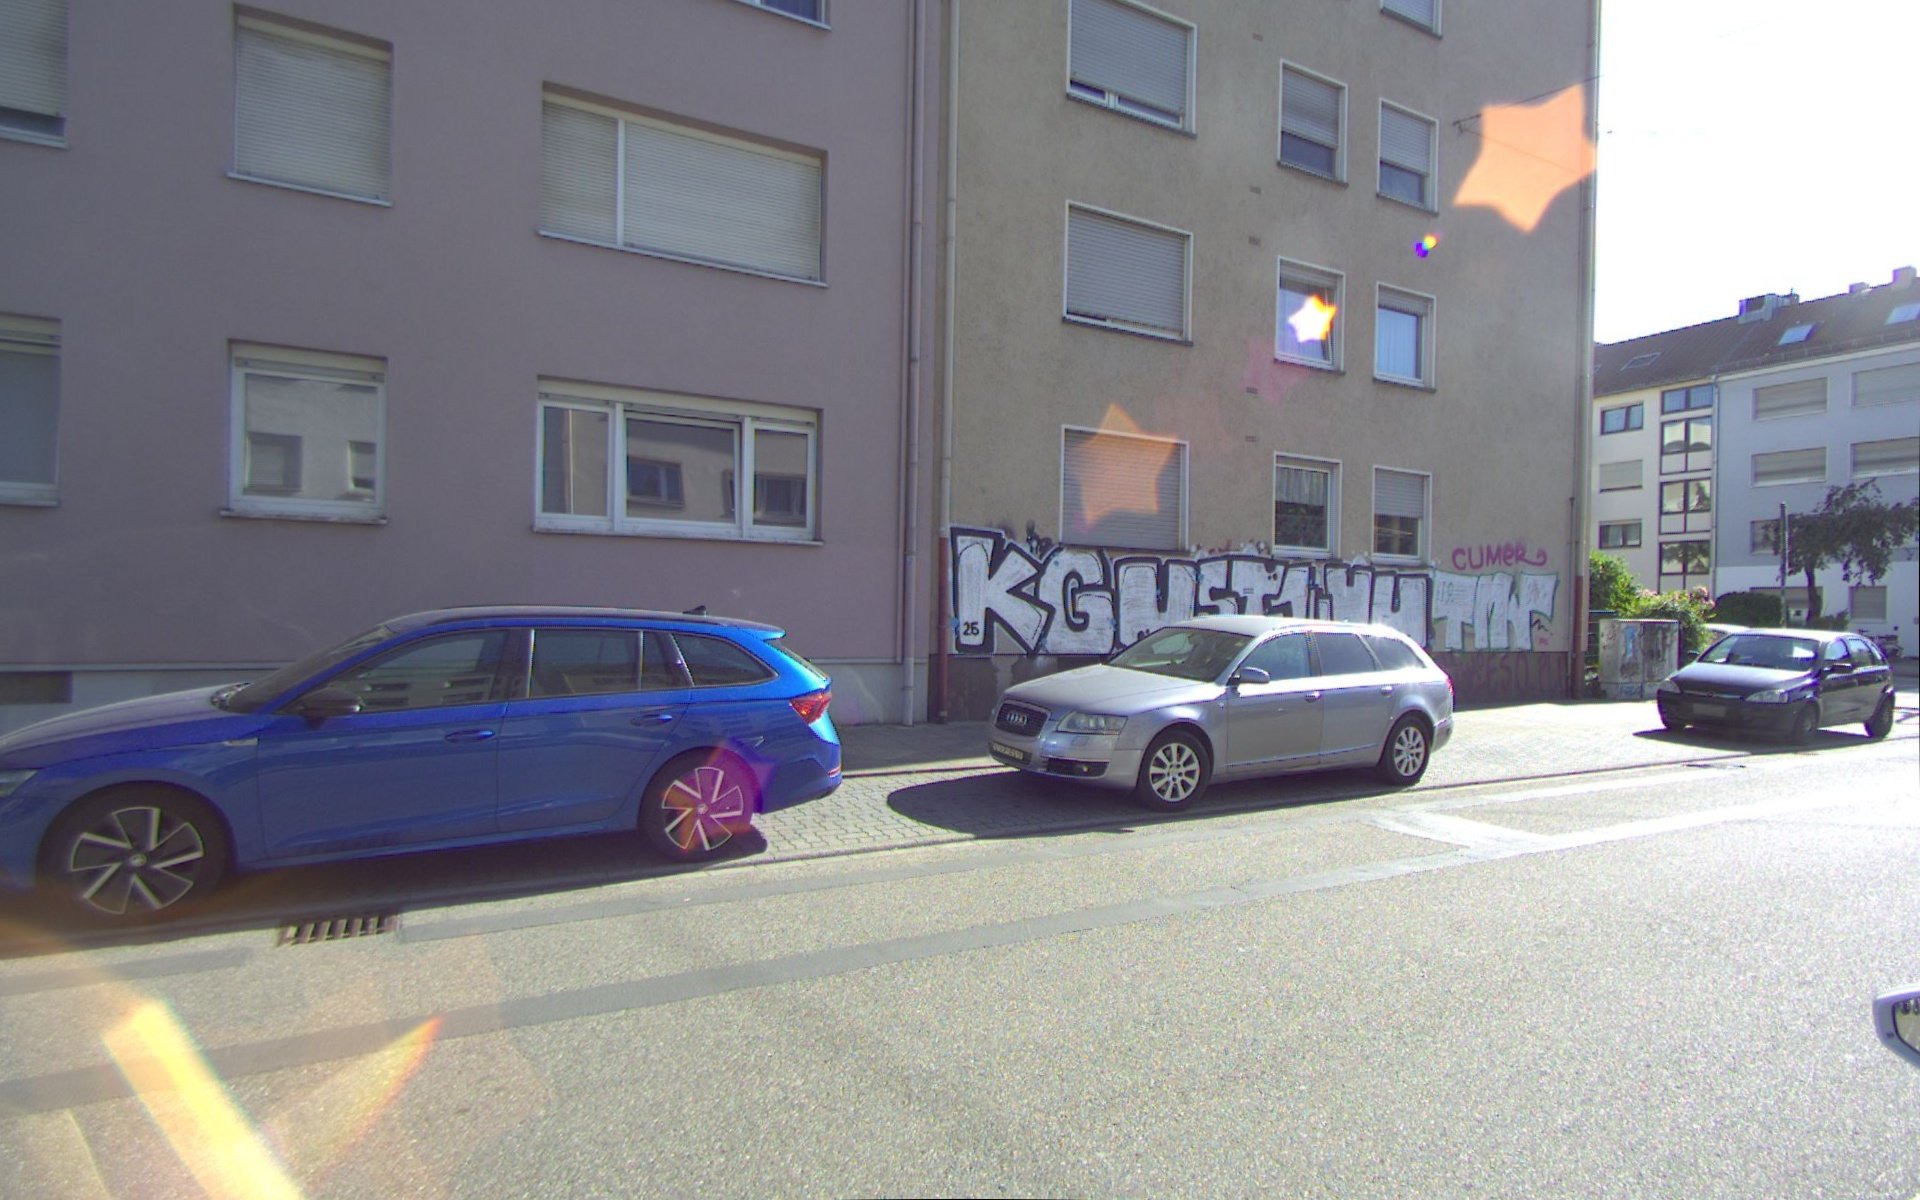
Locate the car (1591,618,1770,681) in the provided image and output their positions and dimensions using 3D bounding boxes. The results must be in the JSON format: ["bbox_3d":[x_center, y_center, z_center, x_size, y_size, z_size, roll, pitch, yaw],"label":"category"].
[{"bbox_3d":[20.284,1.344,28.437,1.748,1.557,3.759,1,0,-27],"label":"car"}]

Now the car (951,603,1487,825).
[{"bbox_3d":[2.429,0.856,9.023,4.757,1.485,1.709,1,2,-29],"label":"car"}]

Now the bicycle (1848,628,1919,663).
[{"bbox_3d":[33.440,1.621,36.213,2.069,1.188,0.737,0,-1,39],"label":"bicycle"}]

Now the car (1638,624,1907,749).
[{"bbox_3d":[11.251,1.110,13.881,3.665,1.444,1.609,1,1,-29],"label":"car"}]

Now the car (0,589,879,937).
[{"bbox_3d":[-2.928,0.749,6.087,4.556,1.485,1.709,1,1,-29],"label":"car"}]
